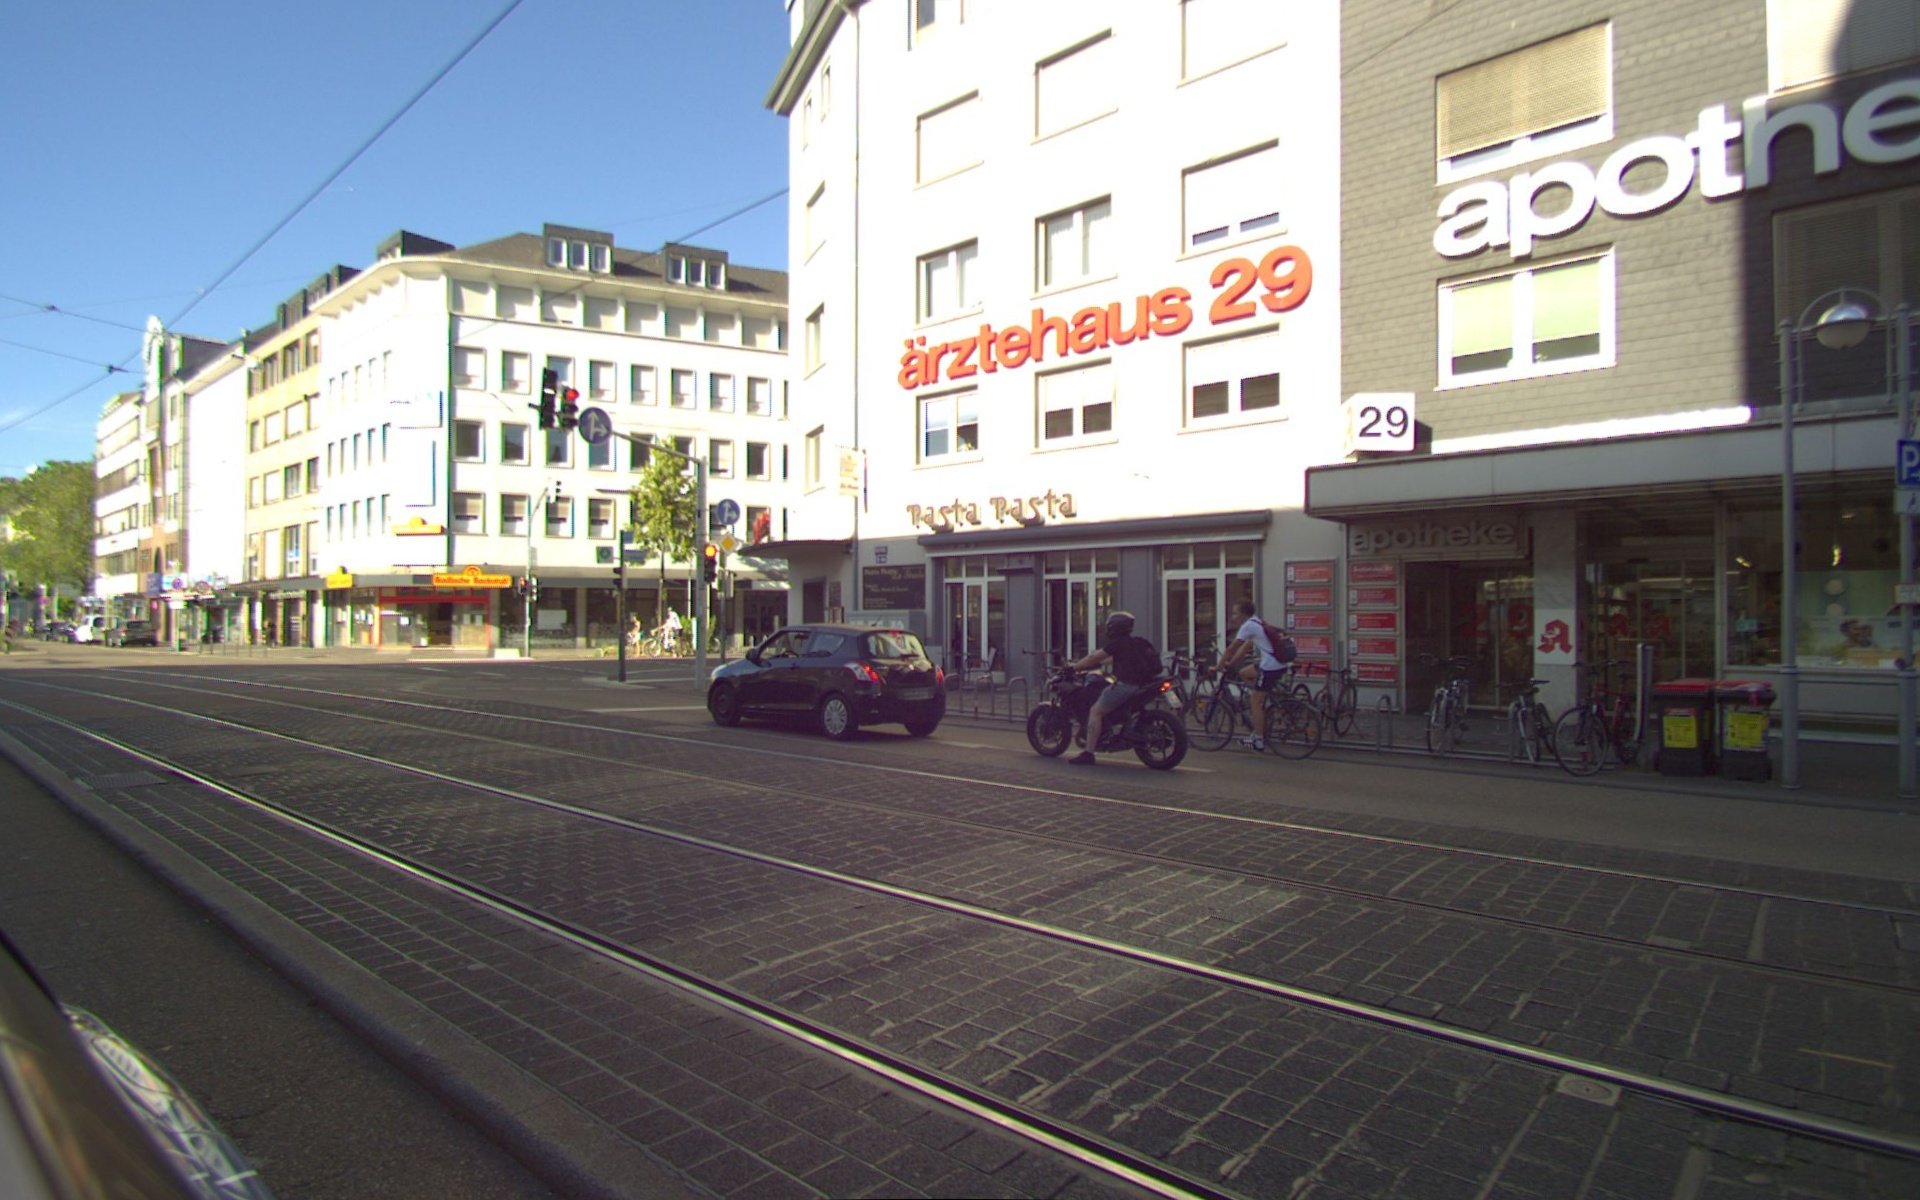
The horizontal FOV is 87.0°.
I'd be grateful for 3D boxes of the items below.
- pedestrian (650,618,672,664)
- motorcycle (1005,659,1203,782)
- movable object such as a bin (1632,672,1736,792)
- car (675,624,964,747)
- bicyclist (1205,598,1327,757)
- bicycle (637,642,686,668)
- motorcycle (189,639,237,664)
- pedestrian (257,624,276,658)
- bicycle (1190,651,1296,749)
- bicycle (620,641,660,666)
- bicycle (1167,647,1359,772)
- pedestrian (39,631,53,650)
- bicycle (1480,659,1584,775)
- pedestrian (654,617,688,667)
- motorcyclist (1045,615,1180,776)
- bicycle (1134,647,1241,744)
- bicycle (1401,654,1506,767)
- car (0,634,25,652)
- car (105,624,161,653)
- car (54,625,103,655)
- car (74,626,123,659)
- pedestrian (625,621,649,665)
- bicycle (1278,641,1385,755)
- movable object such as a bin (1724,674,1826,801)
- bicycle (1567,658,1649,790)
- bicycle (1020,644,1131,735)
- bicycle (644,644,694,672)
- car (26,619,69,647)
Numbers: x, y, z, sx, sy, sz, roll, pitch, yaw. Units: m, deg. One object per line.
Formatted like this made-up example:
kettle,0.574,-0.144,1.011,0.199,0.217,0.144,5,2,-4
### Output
pedestrian,-11.556,1.568,39.086,0.550,1.741,0.782,1,-2,-39
motorcycle,1.473,1.214,10.671,2.116,1.128,0.564,-1,-3,42
movable object such as a bin,7.412,1.310,10.348,0.735,1.080,1.088,-2,-1,41
car,-2.053,1.124,14.051,4.137,1.457,1.695,-2,-5,42
bicyclist,3.546,0.864,11.763,1.146,1.742,0.742,-2,-2,42
bicycle,-11.555,2.119,39.207,1.765,0.975,0.555,2,-3,-36
motorcycle,-46.681,3.206,63.247,0.999,1.517,2.226,-2,-3,38
pedestrian,-34.771,2.051,50.749,0.700,1.722,0.562,1,-3,-27
bicycle,3.876,1.310,13.756,0.772,1.201,1.917,-1,-2,36
bicycle,-12.625,2.088,39.937,1.432,0.963,0.482,2,-3,-39
bicycle,3.493,1.214,11.800,2.025,1.303,0.742,-1,-2,42
pedestrian,-79.718,3.517,88.267,0.571,1.637,0.707,0,-2,-5
bicycle,6.373,1.239,11.232,0.772,1.119,1.917,-1,-2,36
pedestrian,-11.056,1.610,38.734,0.985,1.881,0.782,1,-5,-39
motorcyclist,1.597,0.961,10.615,1.146,1.570,0.794,-2,-3,42
bicycle,3.235,1.296,14.273,0.772,1.181,1.917,-1,-1,36
bicycle,5.839,1.243,11.920,0.772,1.161,1.917,-1,-2,36
car,-97.368,4.338,102.379,1.999,1.811,3.944,-2,-3,42
car,-49.512,2.296,60.598,3.998,1.719,1.972,-2,-2,41
car,-60.390,2.714,69.322,3.998,2.029,1.972,-2,-2,41
car,-55.977,2.733,65.751,4.844,2.029,1.971,-2,-3,45
pedestrian,-12.691,1.678,39.732,0.644,1.725,0.794,1,-2,-39
bicycle,4.782,1.194,12.942,0.772,1.289,1.917,-1,-1,36
movable object such as a bin,7.945,1.296,9.855,0.698,1.071,1.088,-2,-1,41
bicycle,6.749,1.222,10.507,0.551,1.199,1.916,-1,-2,37
bicycle,1.820,1.340,15.689,0.772,1.233,2.084,-1,-1,36
bicycle,-11.103,2.216,38.633,1.697,1.015,0.762,2,-5,-36
car,-69.050,2.509,76.561,3.998,2.029,1.972,-2,-2,41
